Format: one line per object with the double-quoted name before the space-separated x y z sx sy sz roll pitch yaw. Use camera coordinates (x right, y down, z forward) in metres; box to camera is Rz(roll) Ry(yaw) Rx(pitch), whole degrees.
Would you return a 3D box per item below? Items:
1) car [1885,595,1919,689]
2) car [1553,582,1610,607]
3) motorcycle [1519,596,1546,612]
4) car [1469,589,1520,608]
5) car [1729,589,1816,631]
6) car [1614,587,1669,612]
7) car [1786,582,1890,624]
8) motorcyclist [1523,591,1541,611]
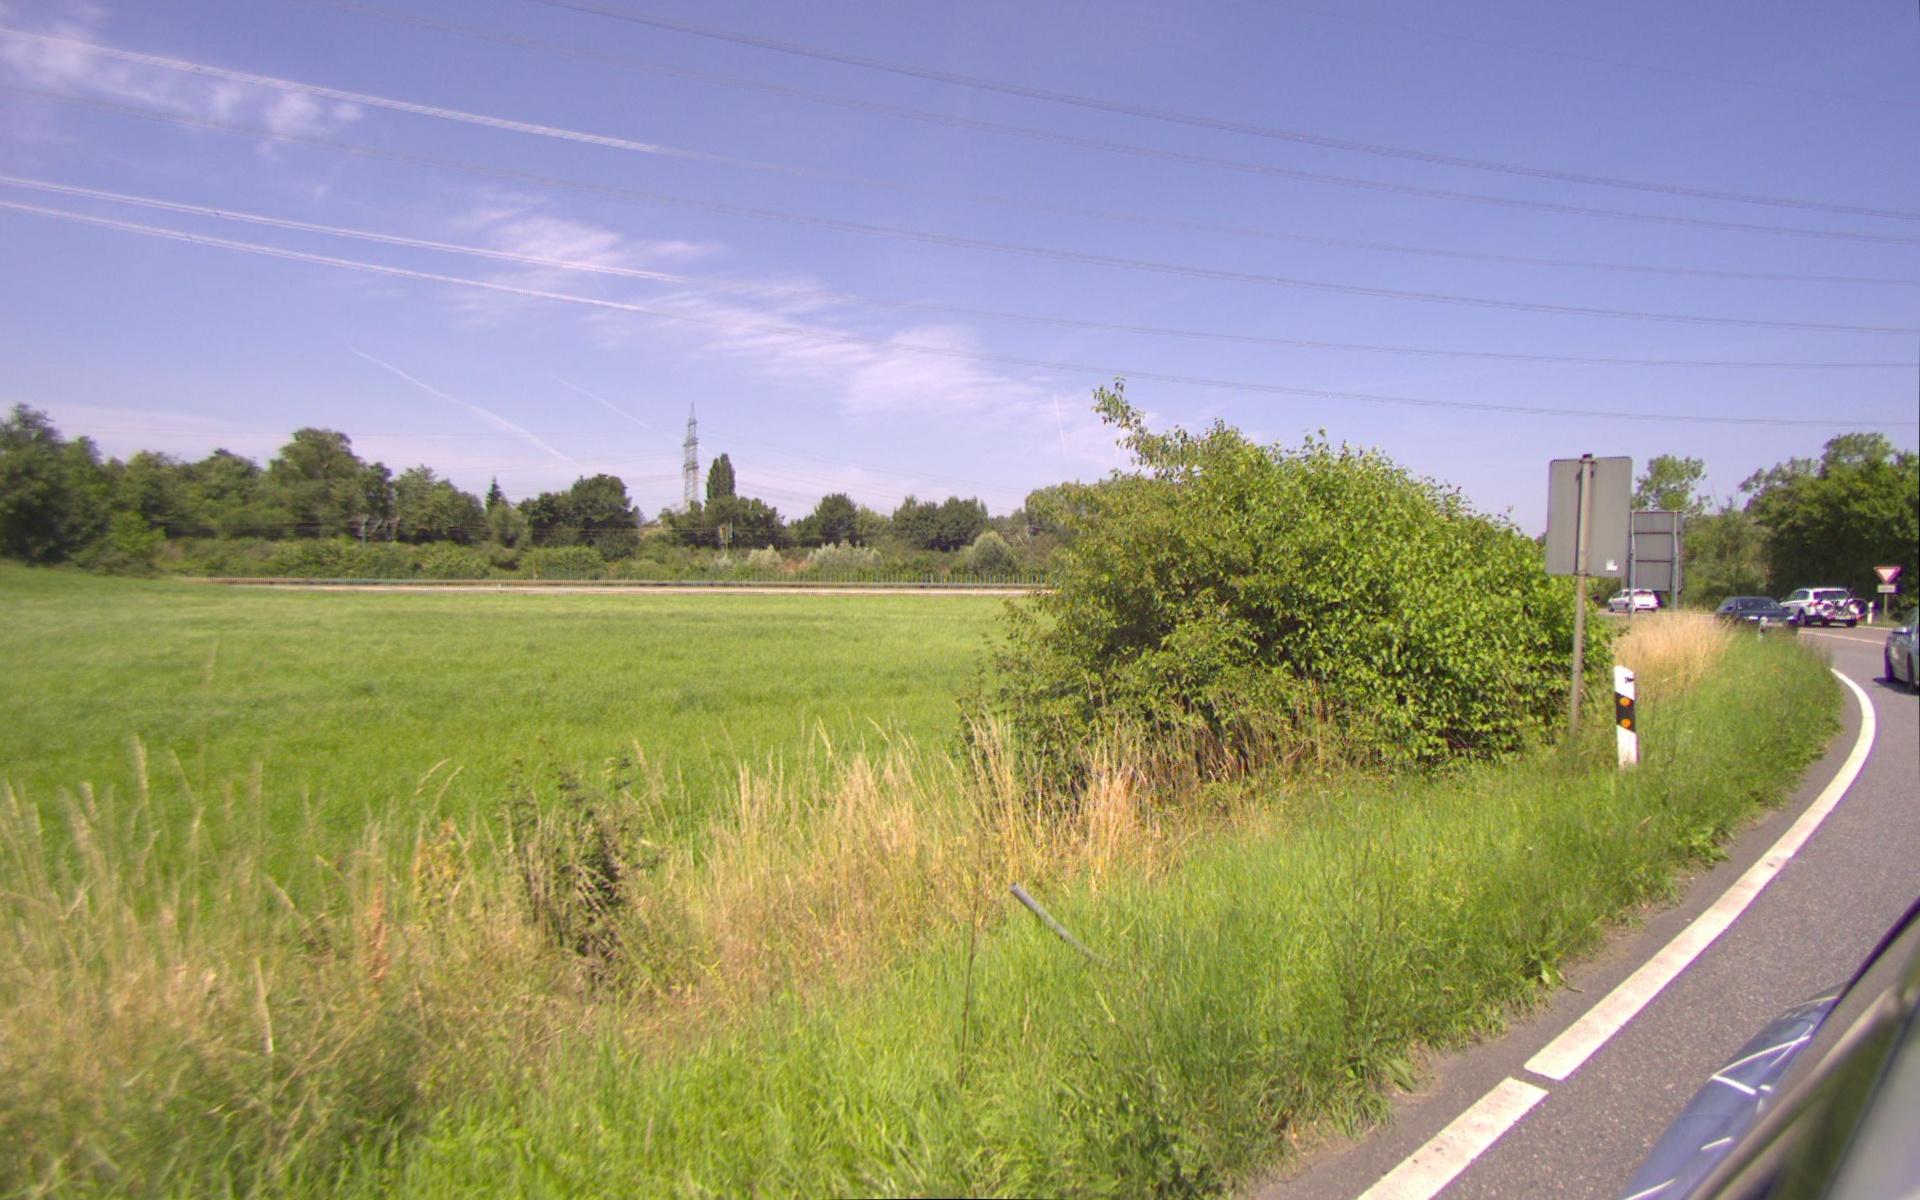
"car" 17.129 0.659 17.027 1.814 1.505 4.094 -2 -1 36
"car" 44.098 -0.417 71.934 1.677 1.658 4.244 -2 1 5
"motorcycle" 44.986 0.298 79.554 0.769 1.137 2.429 -1 2 1
"car" 44.644 -0.156 84.580 1.813 1.478 4.808 -1 2 2
"car" 30.793 0.331 38.468 1.809 1.457 4.108 1 1 28
"car" 43.218 -0.055 64.251 1.517 1.460 3.597 -2 1 11
"car" 36.841 0.103 42.615 1.839 1.622 4.741 -1 0 22
"motorcyclist" 44.942 0.068 79.564 0.769 1.513 1.130 0 1 2
